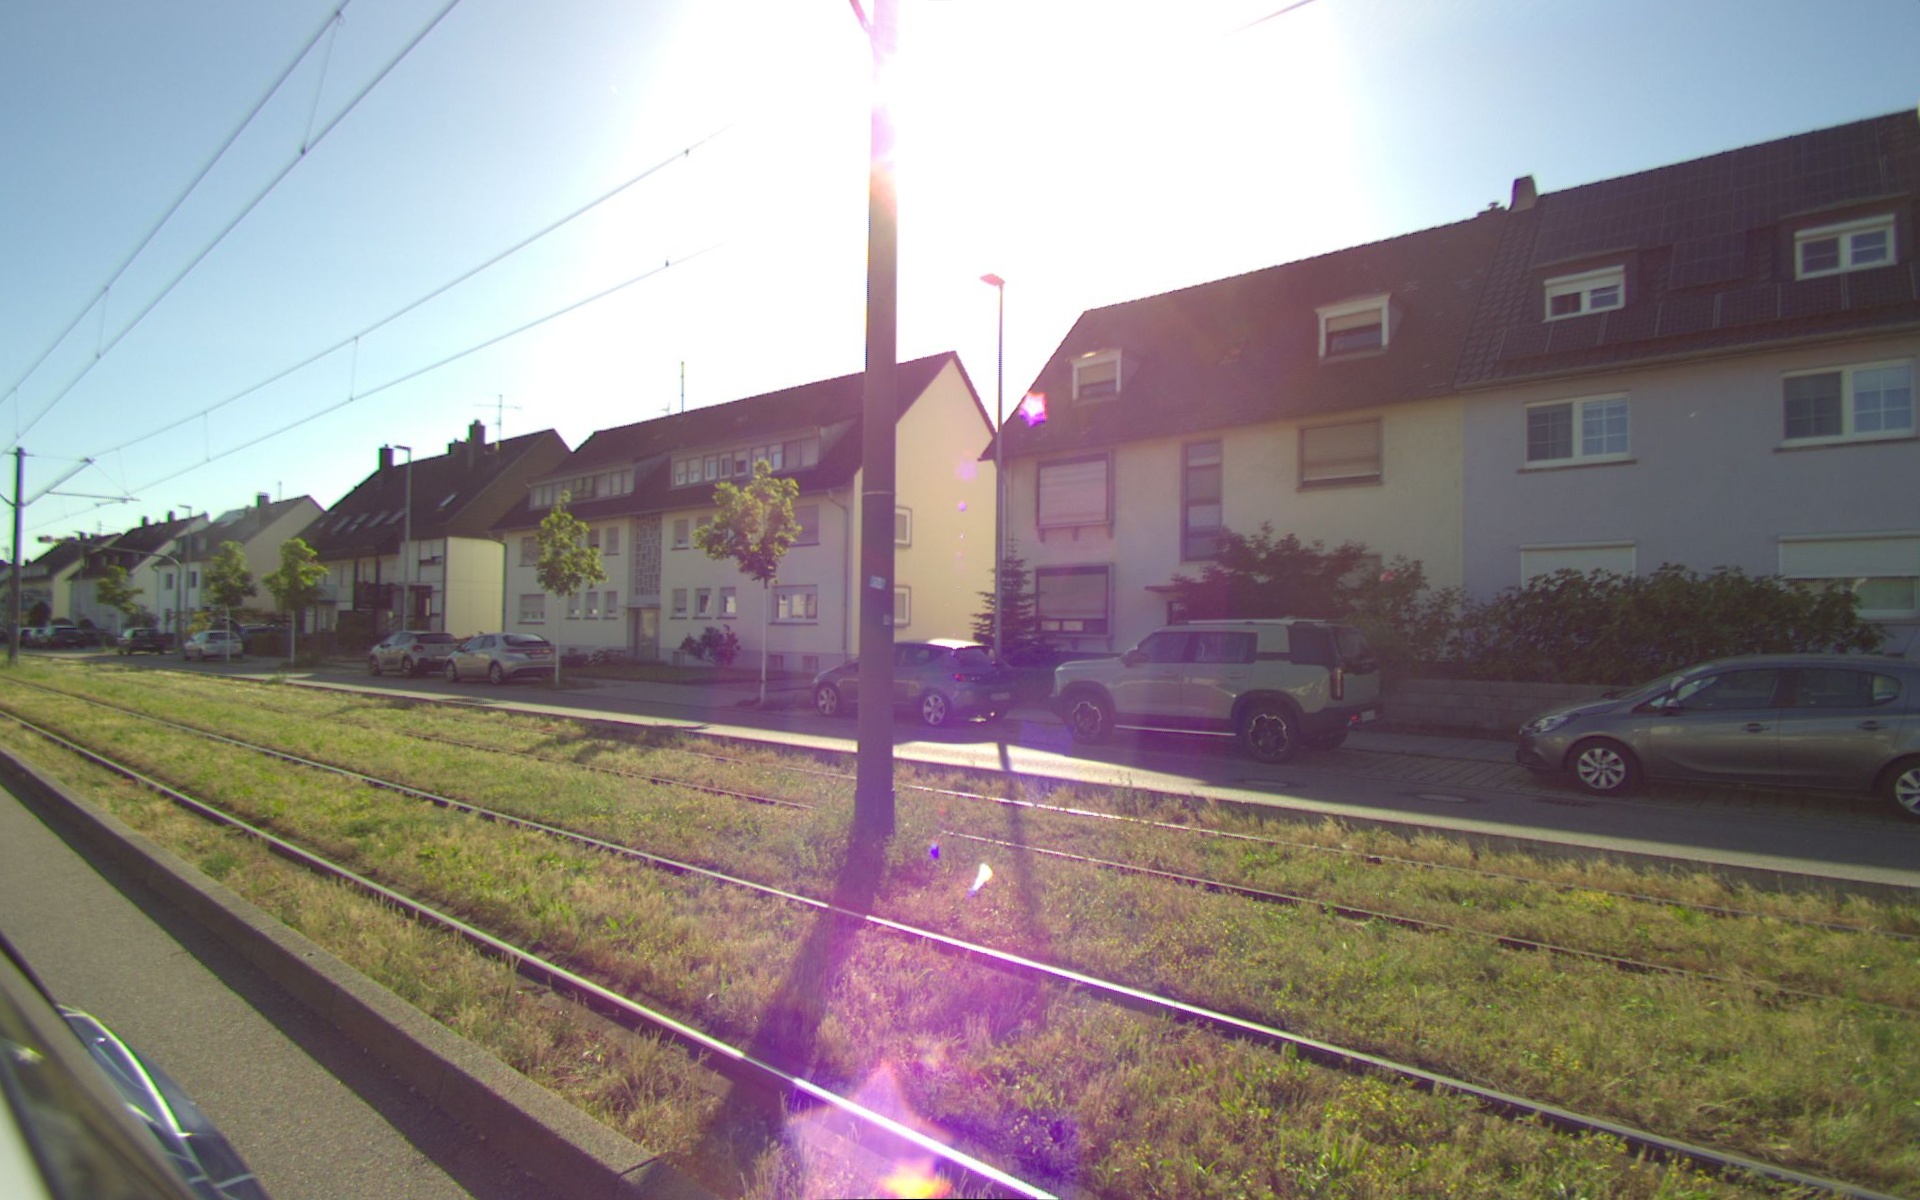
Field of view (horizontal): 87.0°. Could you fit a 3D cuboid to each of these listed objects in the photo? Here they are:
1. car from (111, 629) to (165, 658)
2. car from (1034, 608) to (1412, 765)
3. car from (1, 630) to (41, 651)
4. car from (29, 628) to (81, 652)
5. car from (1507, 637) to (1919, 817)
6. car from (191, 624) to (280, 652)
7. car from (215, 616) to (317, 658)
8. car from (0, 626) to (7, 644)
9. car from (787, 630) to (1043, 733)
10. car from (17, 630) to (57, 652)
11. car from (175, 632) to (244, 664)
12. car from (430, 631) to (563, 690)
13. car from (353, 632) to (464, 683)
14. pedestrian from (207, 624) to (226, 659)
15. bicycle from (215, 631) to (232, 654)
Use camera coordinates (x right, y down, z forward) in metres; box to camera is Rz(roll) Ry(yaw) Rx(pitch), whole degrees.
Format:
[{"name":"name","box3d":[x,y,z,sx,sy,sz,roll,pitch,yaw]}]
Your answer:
[{"name":"car","box3d":[-45.397,2.399,55.868,4.082,1.523,1.602,-2,-2,41]},{"name":"car","box3d":[3.487,1.057,14.116,4.839,1.837,1.727,-1,-1,41]},{"name":"car","box3d":[-70.265,2.997,75.717,4.396,1.466,1.637,-1,-1,39]},{"name":"car","box3d":[-62.068,2.714,69.370,4.853,1.572,1.902,-1,-1,39]},{"name":"car","box3d":[7.992,1.170,10.286,4.045,1.502,1.660,-1,-1,39]},{"name":"car","box3d":[-47.391,2.497,66.240,1.968,1.797,4.348,-2,-3,39]},{"name":"car","box3d":[-39.082,2.055,57.066,1.786,2.096,4.415,-1,1,40]},{"name":"car","box3d":[-81.687,2.944,85.107,4.088,1.408,1.683,-1,-1,39]},{"name":"car","box3d":[-0.905,1.358,18.265,4.554,1.552,1.940,-1,-1,41]},{"name":"car","box3d":[-66.202,2.951,72.566,3.993,1.479,1.451,-2,-4,38]},{"name":"car","box3d":[-35.436,2.239,47.784,4.099,1.447,1.641,-1,-2,39]},{"name":"car","box3d":[-13.257,1.660,28.865,4.438,1.487,1.672,-1,-1,39]},{"name":"car","box3d":[-17.932,1.808,32.835,4.310,1.484,1.672,-1,-1,39]},{"name":"pedestrian","box3d":[-39.390,2.216,53.616,0.676,1.829,0.611,-1,-1,31]},{"name":"bicycle","box3d":[-39.127,2.247,53.756,0.471,1.172,1.872,1,-1,-44]}]
